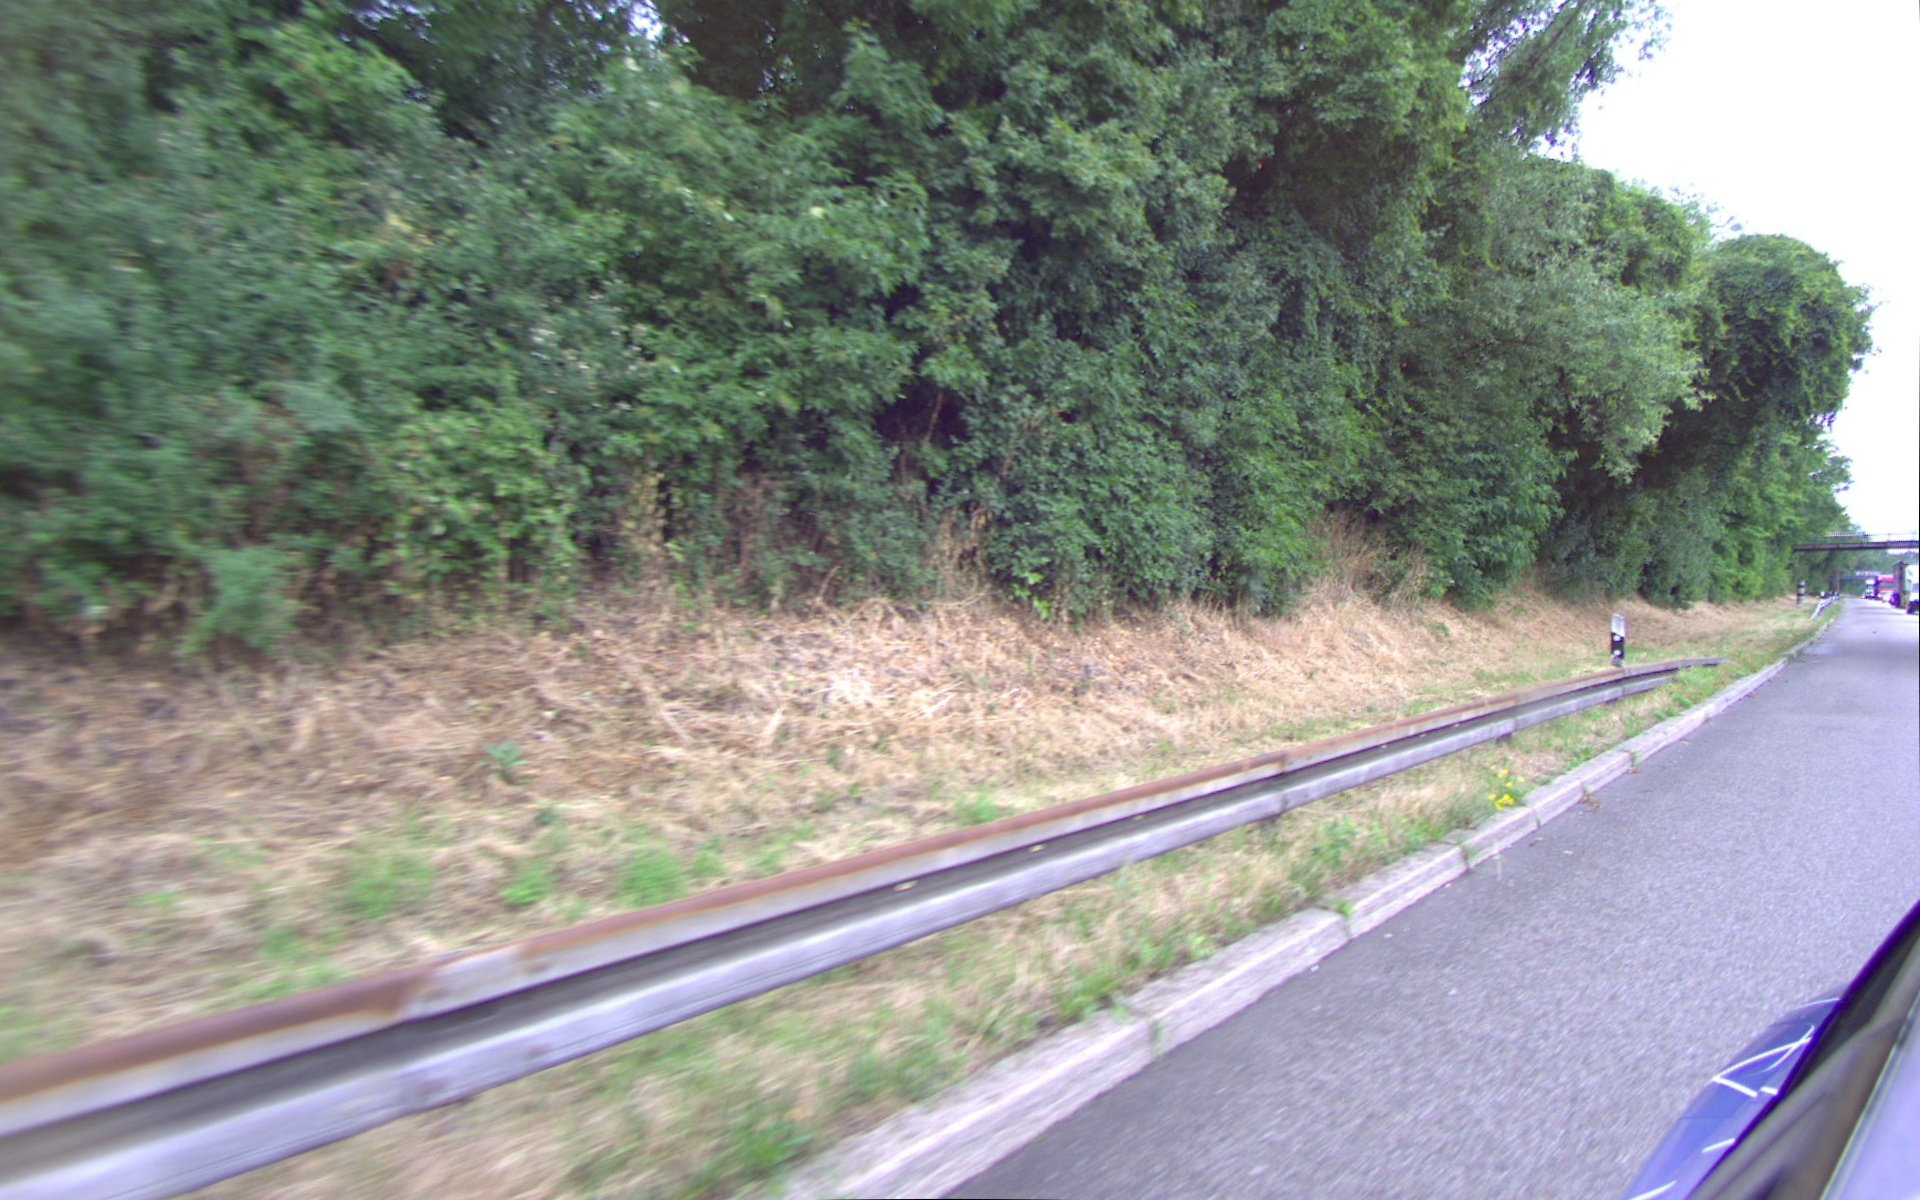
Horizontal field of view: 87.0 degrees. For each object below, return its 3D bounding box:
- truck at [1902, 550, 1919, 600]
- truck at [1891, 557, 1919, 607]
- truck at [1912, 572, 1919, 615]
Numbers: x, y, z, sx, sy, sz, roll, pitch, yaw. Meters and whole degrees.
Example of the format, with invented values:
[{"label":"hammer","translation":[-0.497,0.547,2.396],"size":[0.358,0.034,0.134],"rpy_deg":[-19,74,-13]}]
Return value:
[{"label":"truck","translation":[83.831,-2.135,87.356],"size":[3.354,4.115,10.033],"rpy_deg":[1,1,41]},{"label":"truck","translation":[62.759,-1.194,65.532],"size":[3.353,3.155,7.134],"rpy_deg":[1,1,41]},{"label":"truck","translation":[47.913,-0.286,49.334],"size":[5.991,2.038,1.891],"rpy_deg":[-1,3,-45]}]
